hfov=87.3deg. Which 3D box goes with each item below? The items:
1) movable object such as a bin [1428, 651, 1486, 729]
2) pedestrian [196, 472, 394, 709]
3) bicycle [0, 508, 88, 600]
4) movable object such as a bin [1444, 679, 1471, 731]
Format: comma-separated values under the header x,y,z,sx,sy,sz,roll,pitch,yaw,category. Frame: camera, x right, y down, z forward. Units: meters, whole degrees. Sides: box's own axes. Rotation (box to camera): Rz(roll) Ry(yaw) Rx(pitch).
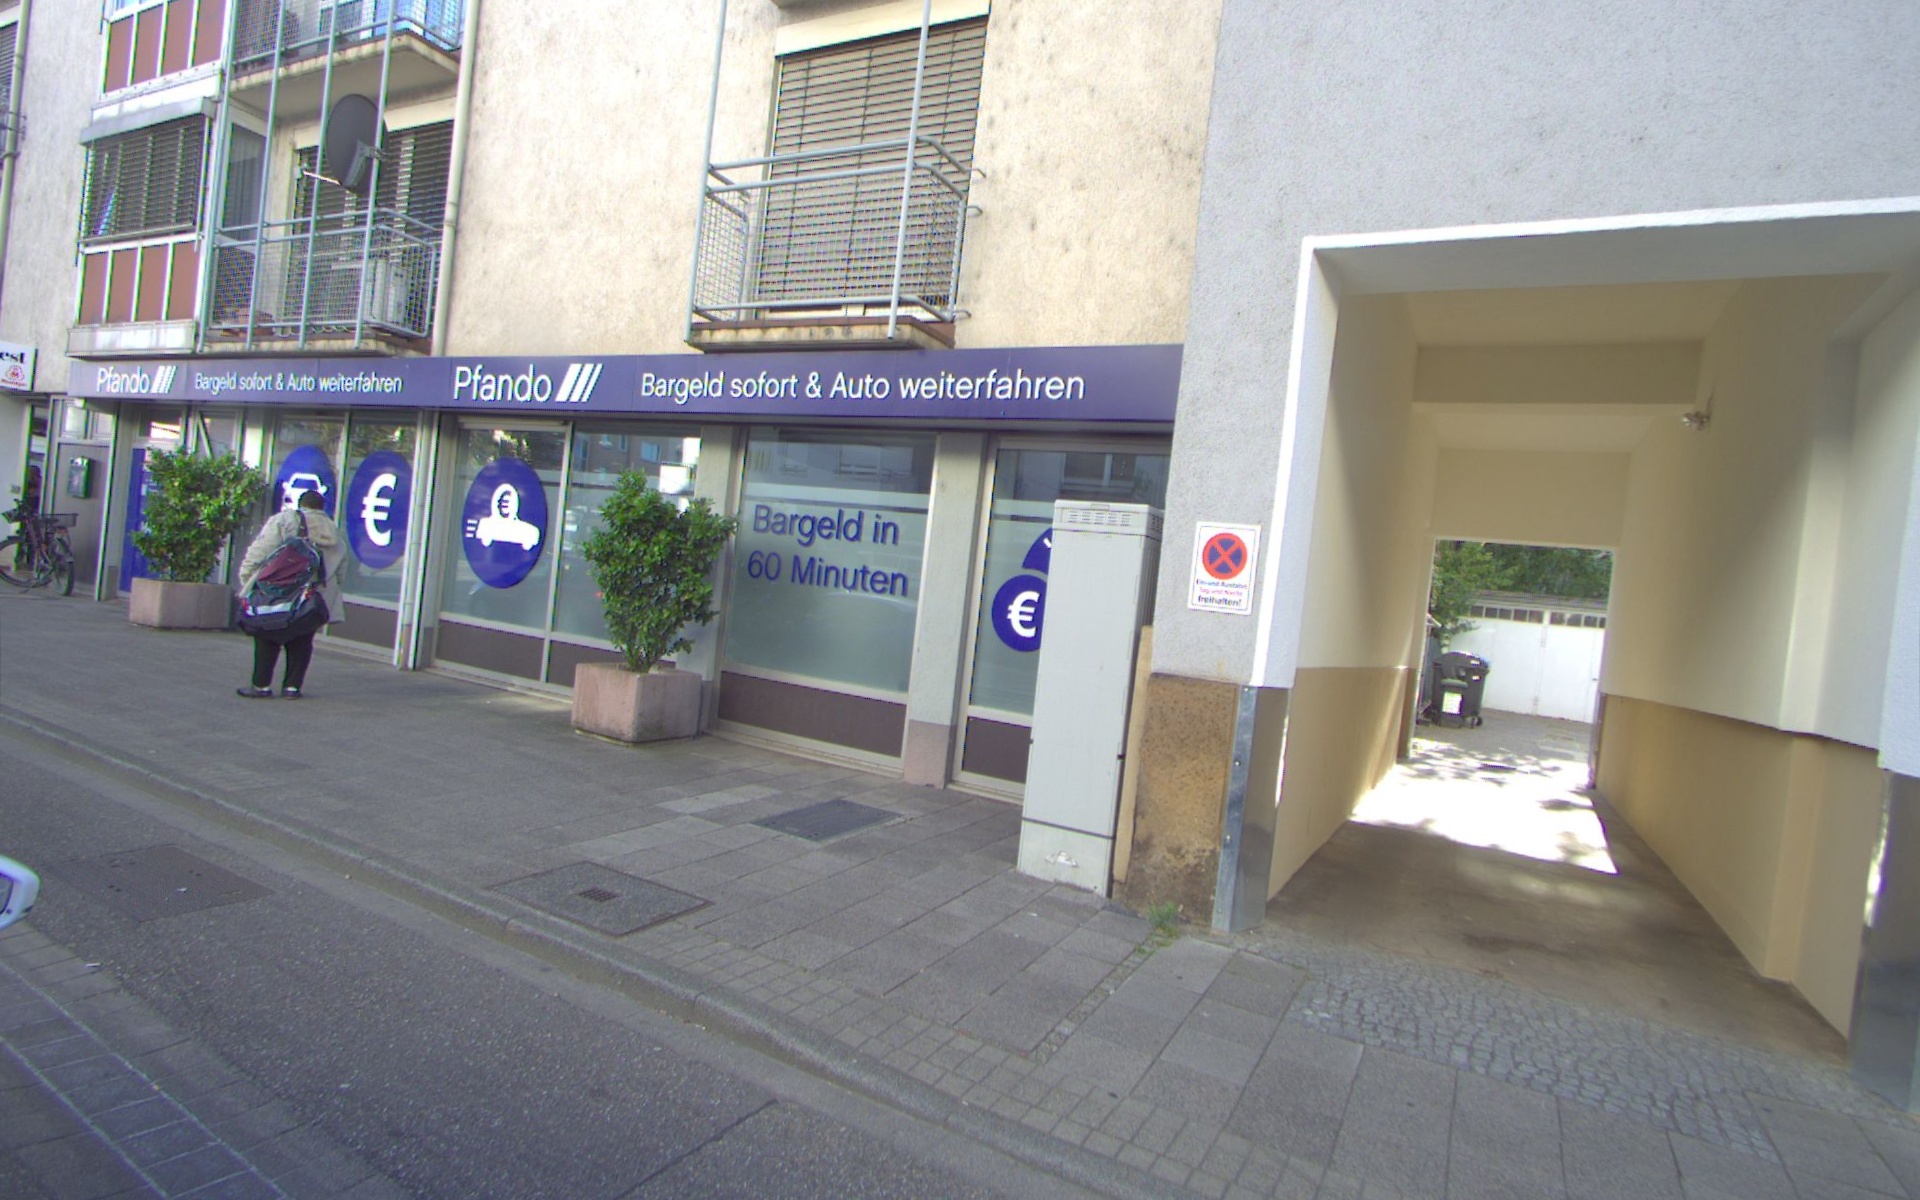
x,y,z,sx,sy,sz,roll,pitch,yaw,category
9.915,1.783,20.073,0.873,1.411,0.758,7,2,28,movable object such as a bin
-4.914,-0.052,7.460,0.738,1.611,0.827,6,-1,31,pedestrian
-11.845,-0.608,12.827,1.678,1.010,0.543,6,-1,32,bicycle
9.584,2.017,19.391,0.365,0.920,0.420,7,2,28,movable object such as a bin
